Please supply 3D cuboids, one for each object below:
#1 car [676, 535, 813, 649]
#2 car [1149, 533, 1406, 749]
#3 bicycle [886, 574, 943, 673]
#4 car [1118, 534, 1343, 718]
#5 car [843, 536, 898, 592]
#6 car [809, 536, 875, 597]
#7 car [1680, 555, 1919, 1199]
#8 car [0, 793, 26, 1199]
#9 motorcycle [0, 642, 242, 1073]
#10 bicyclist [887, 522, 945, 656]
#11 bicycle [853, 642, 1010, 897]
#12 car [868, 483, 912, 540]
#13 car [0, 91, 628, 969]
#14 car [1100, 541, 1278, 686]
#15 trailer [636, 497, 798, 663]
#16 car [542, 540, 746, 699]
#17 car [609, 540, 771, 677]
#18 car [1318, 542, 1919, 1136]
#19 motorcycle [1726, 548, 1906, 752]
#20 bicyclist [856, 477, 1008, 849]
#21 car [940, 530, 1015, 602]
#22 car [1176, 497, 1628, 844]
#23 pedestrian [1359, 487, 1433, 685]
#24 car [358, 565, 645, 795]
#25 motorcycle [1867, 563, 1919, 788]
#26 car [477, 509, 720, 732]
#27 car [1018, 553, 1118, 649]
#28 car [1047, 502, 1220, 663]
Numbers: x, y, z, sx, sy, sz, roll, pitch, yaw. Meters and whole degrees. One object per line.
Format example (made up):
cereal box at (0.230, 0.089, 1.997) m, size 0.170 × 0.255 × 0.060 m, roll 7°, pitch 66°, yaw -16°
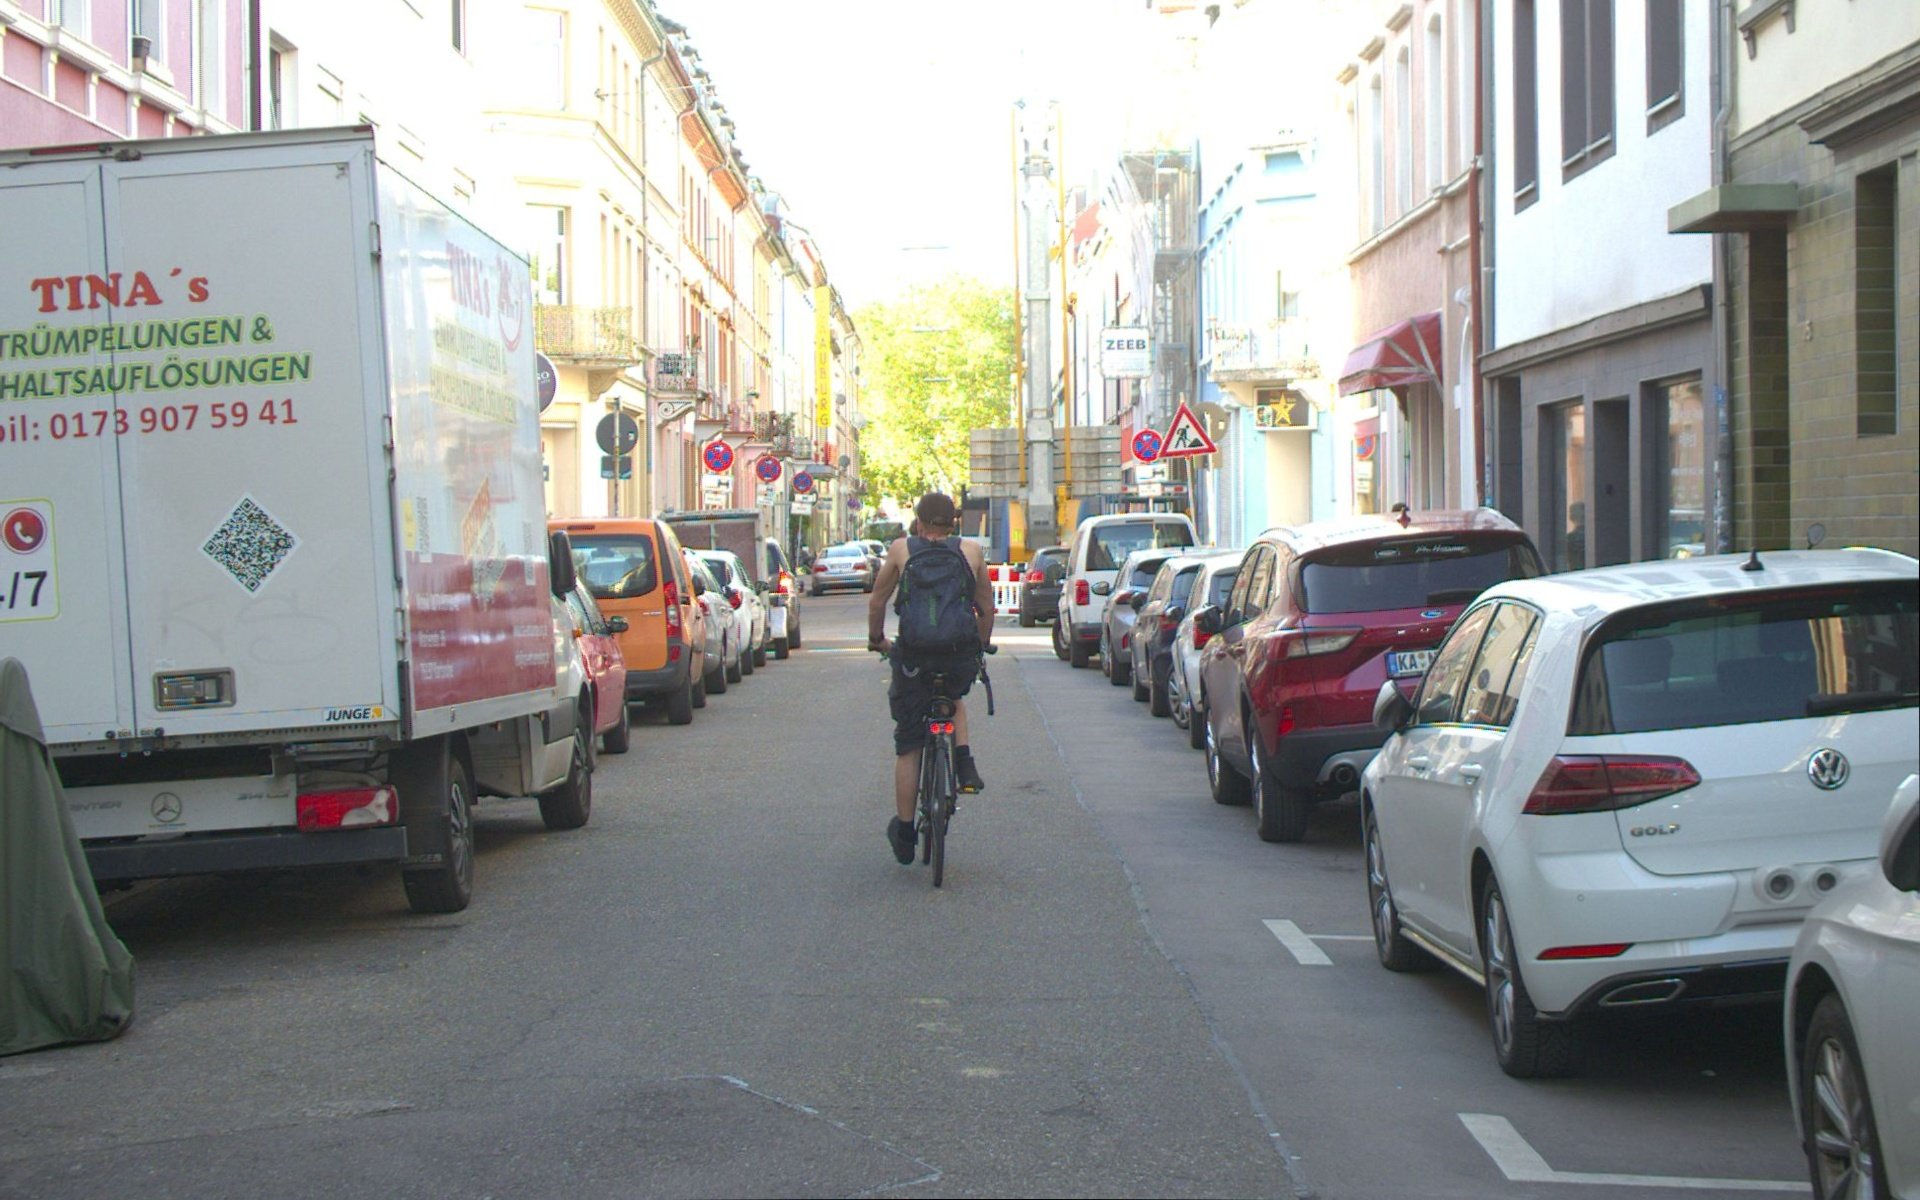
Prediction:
car at (-3.129, -0.125, 50.512) m, size 1.750 × 1.567 × 3.796 m, roll -2°, pitch 0°, yaw 0°
car at (2.454, 0.286, 27.360) m, size 1.667 × 1.500 × 3.816 m, roll -3°, pitch 1°, yaw 1°
bicycle at (-0.533, 0.263, 40.793) m, size 0.648 × 1.125 × 2.136 m, roll 0°, pitch 0°, yaw 0°
car at (2.441, 0.210, 31.863) m, size 1.646 × 1.470 × 3.971 m, roll -4°, pitch 1°, yaw 0°
car at (-3.031, -1.217, 117.139) m, size 1.750 × 1.815 × 3.796 m, roll -2°, pitch 0°, yaw 0°
car at (-3.405, -0.963, 99.555) m, size 1.750 × 1.678 × 3.796 m, roll -2°, pitch 0°, yaw 0°
car at (2.495, 0.677, 5.280) m, size 1.696 × 1.538 × 4.629 m, roll -2°, pitch 1°, yaw -1°
car at (-3.071, 0.695, 5.928) m, size 1.716 × 1.644 × 4.246 m, roll -3°, pitch 2°, yaw -1°
motorcycle at (-3.311, 0.812, 10.455) m, size 0.791 × 1.248 × 2.102 m, roll -2°, pitch 1°, yaw 41°
bicyclist at (-0.526, -0.135, 40.692) m, size 0.671 × 1.562 × 0.716 m, roll 0°, pitch 0°, yaw -1°
bicycle at (-0.137, 0.756, 16.027) m, size 0.677 × 1.071 × 1.942 m, roll 0°, pitch 0°, yaw -1°
car at (-2.952, -3.765, 146.149) m, size 1.750 × 2.310 × 3.796 m, roll -2°, pitch 0°, yaw 0°
car at (-3.228, -0.285, 16.703) m, size 2.343 × 3.280 × 7.154 m, roll -2°, pitch 1°, yaw 0°
car at (2.472, 0.124, 37.901) m, size 1.750 × 1.481 × 3.799 m, roll -1°, pitch 0°, yaw 1°
trailer at (-3.218, -0.273, 46.196) m, size 1.882 × 2.085 × 3.737 m, roll -2°, pitch 0°, yaw 0°
car at (-3.282, 0.174, 36.417) m, size 1.750 × 1.532 × 4.319 m, roll -2°, pitch 1°, yaw 0°
car at (-3.218, 0.081, 41.557) m, size 1.653 × 1.532 × 3.634 m, roll -2°, pitch 0°, yaw 0°
car at (2.282, 0.615, 11.260) m, size 1.686 × 1.538 × 4.046 m, roll -2°, pitch 1°, yaw -1°
motorcycle at (4.911, 0.266, 19.825) m, size 0.501 × 1.091 × 1.878 m, roll -3°, pitch 0°, yaw 0°
bicyclist at (-0.133, 0.278, 16.016) m, size 0.667 × 1.671 × 1.097 m, roll 0°, pitch 0°, yaw -1°
car at (0.364, -0.749, 76.399) m, size 1.611 × 1.555 × 3.610 m, roll 1°, pitch 0°, yaw 0°
car at (2.328, 0.310, 19.217) m, size 1.918 × 1.700 × 4.366 m, roll -1°, pitch 1°, yaw 0°
pedestrian at (4.479, -0.148, 35.375) m, size 0.644 × 2.007 × 0.764 m, roll 0°, pitch 0°, yaw 0°
car at (-3.304, 0.532, 25.327) m, size 1.578 × 1.478 × 3.565 m, roll -3°, pitch 1°, yaw 0°
motorcycle at (4.963, 0.362, 16.743) m, size 0.558 × 1.091 × 1.776 m, roll -3°, pitch 0°, yaw 0°
car at (-3.186, 0.157, 31.020) m, size 1.752 × 1.810 × 4.078 m, roll -3°, pitch 0°, yaw -1°
car at (1.866, -0.002, 60.356) m, size 1.611 × 1.628 × 3.610 m, roll 1°, pitch 0°, yaw 0°
car at (2.120, -0.228, 42.963) m, size 1.750 × 1.872 × 3.973 m, roll -2°, pitch 0°, yaw -3°
